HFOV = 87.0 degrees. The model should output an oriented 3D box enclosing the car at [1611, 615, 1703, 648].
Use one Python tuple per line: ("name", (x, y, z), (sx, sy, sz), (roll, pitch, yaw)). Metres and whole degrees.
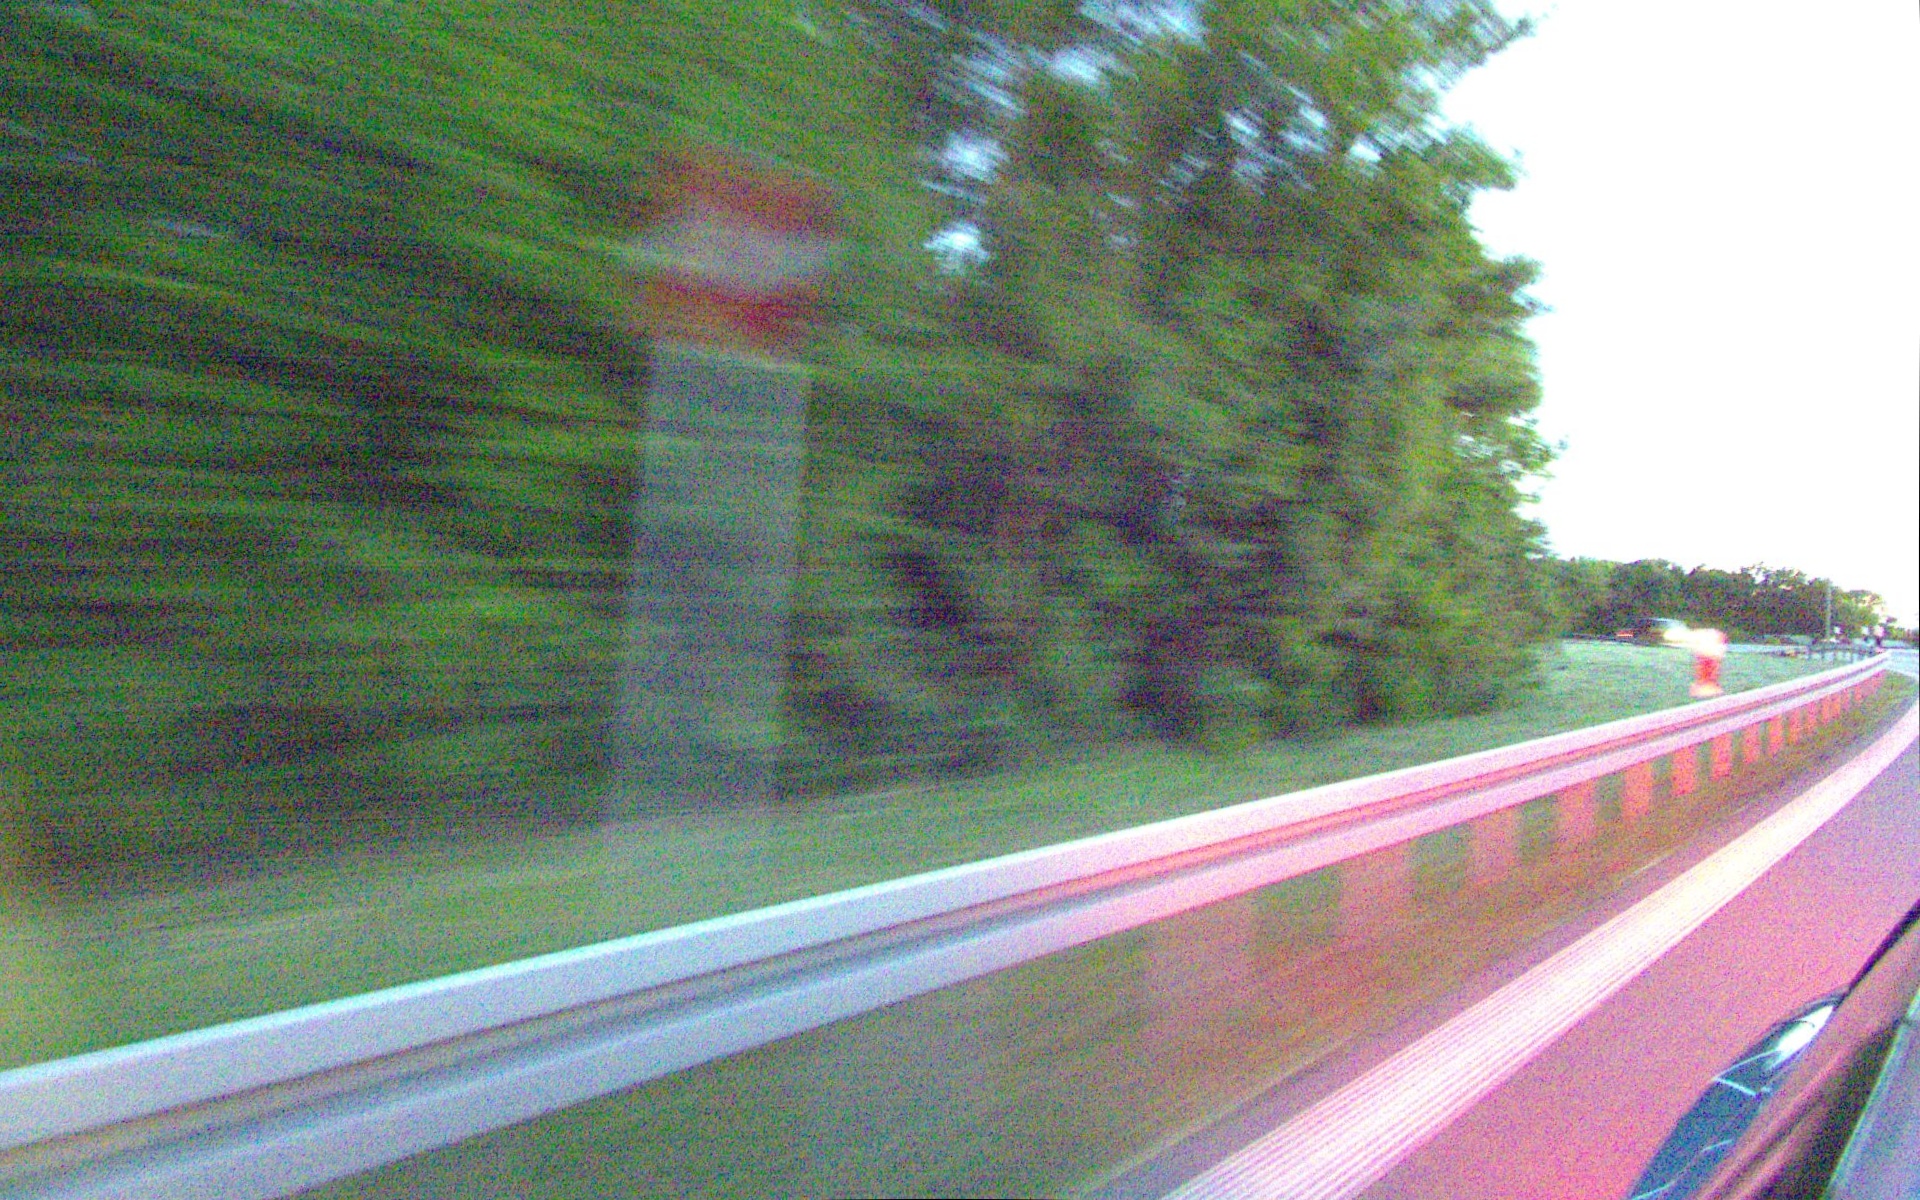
("car", (56.498, 2.509, 82.255), (2.218, 2.561, 6.508), (0, 0, -10))
